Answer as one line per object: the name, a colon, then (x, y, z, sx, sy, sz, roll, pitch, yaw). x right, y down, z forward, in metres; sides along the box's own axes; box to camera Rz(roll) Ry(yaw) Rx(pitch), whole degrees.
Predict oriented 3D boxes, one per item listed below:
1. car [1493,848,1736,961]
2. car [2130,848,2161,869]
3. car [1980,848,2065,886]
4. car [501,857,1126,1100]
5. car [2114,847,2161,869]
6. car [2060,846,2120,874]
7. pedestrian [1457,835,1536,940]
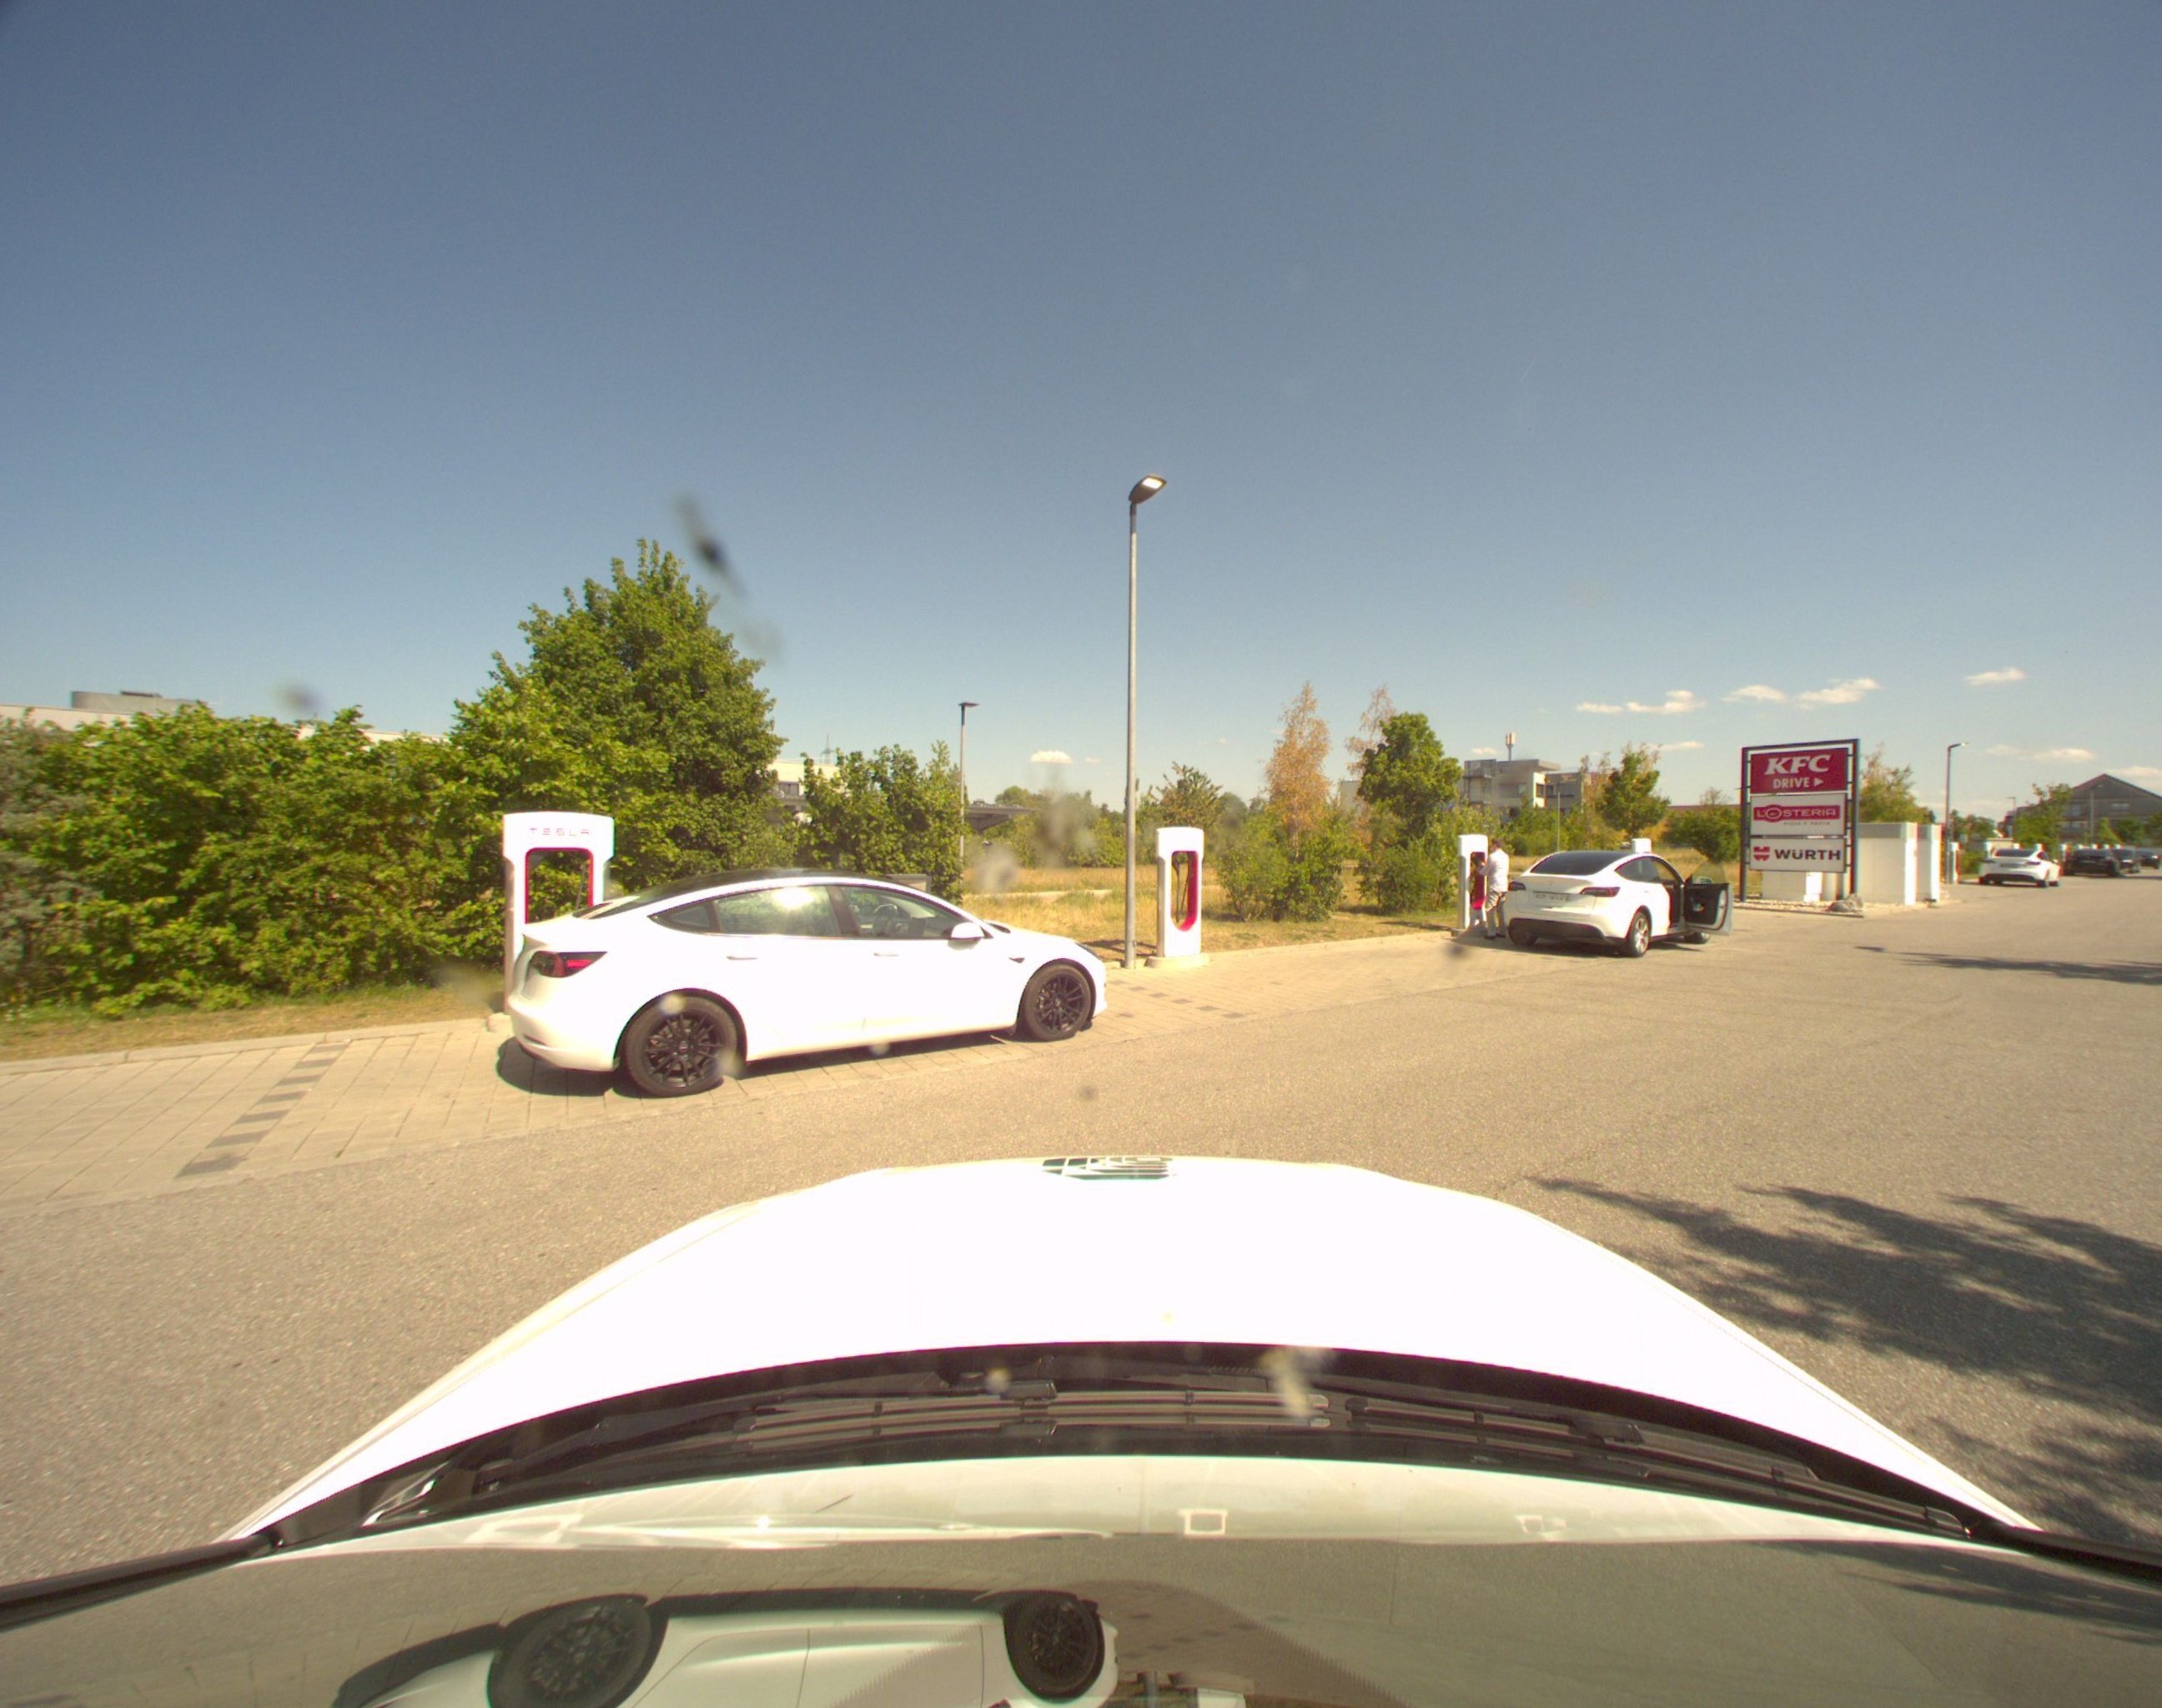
car: (9.097, 0.707, 13.766, 4.507, 1.600, 1.850, 0, 1, -34)
car: (83.175, 0.329, 63.351, 4.017, 1.568, 1.729, 0, 1, -35)
car: (41.034, 0.515, 35.482, 4.015, 1.568, 1.931, 0, 1, -34)
car: (-1.976, 0.746, 6.752, 4.463, 1.377, 1.805, 0, 1, -31)
car: (69.474, 0.247, 53.527, 4.017, 1.387, 1.729, 0, 1, -35)
car: (58.862, 0.328, 47.507, 4.017, 1.568, 1.930, 0, 1, -35)
pedestrian: (7.415, 0.565, 14.554, 0.740, 1.800, 1.024, 0, 1, -35)
